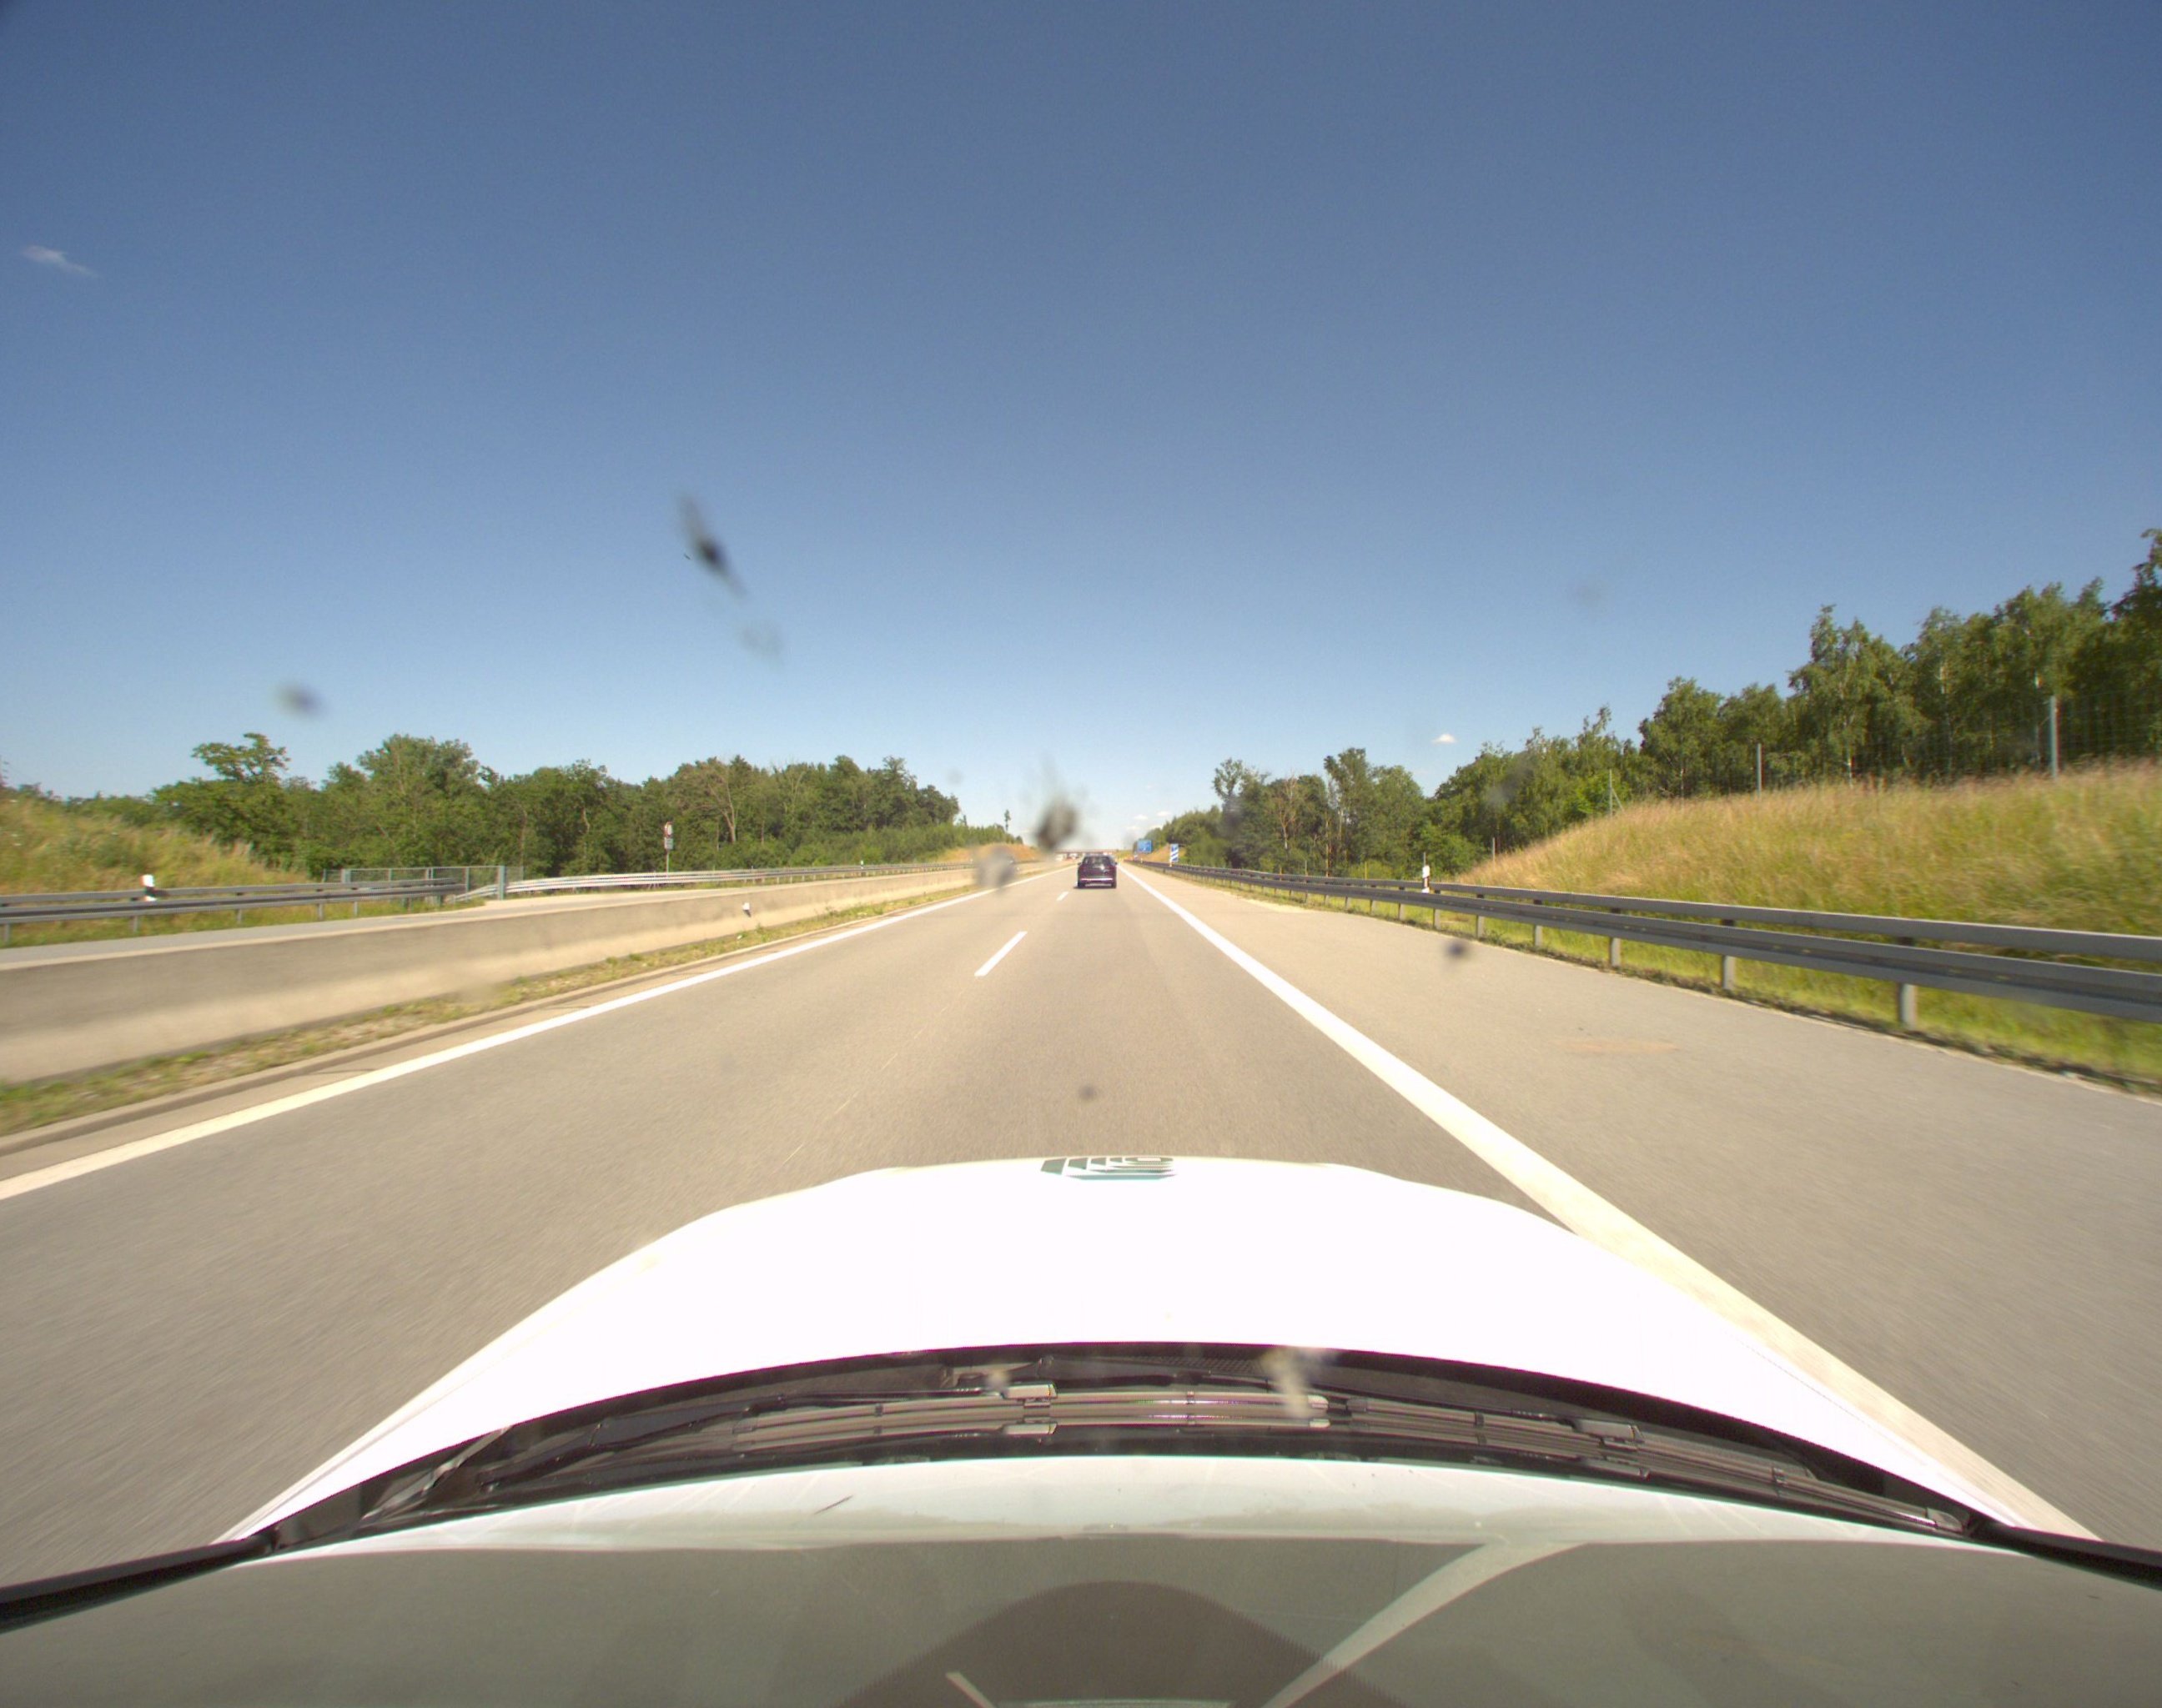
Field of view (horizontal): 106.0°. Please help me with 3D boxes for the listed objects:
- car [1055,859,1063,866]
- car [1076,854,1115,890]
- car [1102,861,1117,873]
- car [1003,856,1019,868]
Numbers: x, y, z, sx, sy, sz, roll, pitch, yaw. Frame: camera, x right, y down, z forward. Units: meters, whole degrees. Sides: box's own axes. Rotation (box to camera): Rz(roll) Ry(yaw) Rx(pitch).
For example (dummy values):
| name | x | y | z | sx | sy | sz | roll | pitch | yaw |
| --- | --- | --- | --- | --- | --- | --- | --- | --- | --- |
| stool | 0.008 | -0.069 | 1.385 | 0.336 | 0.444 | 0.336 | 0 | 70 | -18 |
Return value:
| name | x | y | z | sx | sy | sz | roll | pitch | yaw |
| --- | --- | --- | --- | --- | --- | --- | --- | --- | --- |
| car | -6.835 | 2.559 | 251.564 | 1.986 | 2.083 | 6.230 | 0 | 0 | 2 |
| car | 0.761 | 0.817 | 39.451 | 1.715 | 1.588 | 5.224 | -1 | 0 | 2 |
| car | 3.580 | 1.627 | 102.412 | 1.783 | 1.374 | 3.918 | 0 | 0 | 2 |
| car | -10.194 | 1.099 | 118.498 | 1.894 | 1.691 | 4.270 | -1 | 0 | 2 |
